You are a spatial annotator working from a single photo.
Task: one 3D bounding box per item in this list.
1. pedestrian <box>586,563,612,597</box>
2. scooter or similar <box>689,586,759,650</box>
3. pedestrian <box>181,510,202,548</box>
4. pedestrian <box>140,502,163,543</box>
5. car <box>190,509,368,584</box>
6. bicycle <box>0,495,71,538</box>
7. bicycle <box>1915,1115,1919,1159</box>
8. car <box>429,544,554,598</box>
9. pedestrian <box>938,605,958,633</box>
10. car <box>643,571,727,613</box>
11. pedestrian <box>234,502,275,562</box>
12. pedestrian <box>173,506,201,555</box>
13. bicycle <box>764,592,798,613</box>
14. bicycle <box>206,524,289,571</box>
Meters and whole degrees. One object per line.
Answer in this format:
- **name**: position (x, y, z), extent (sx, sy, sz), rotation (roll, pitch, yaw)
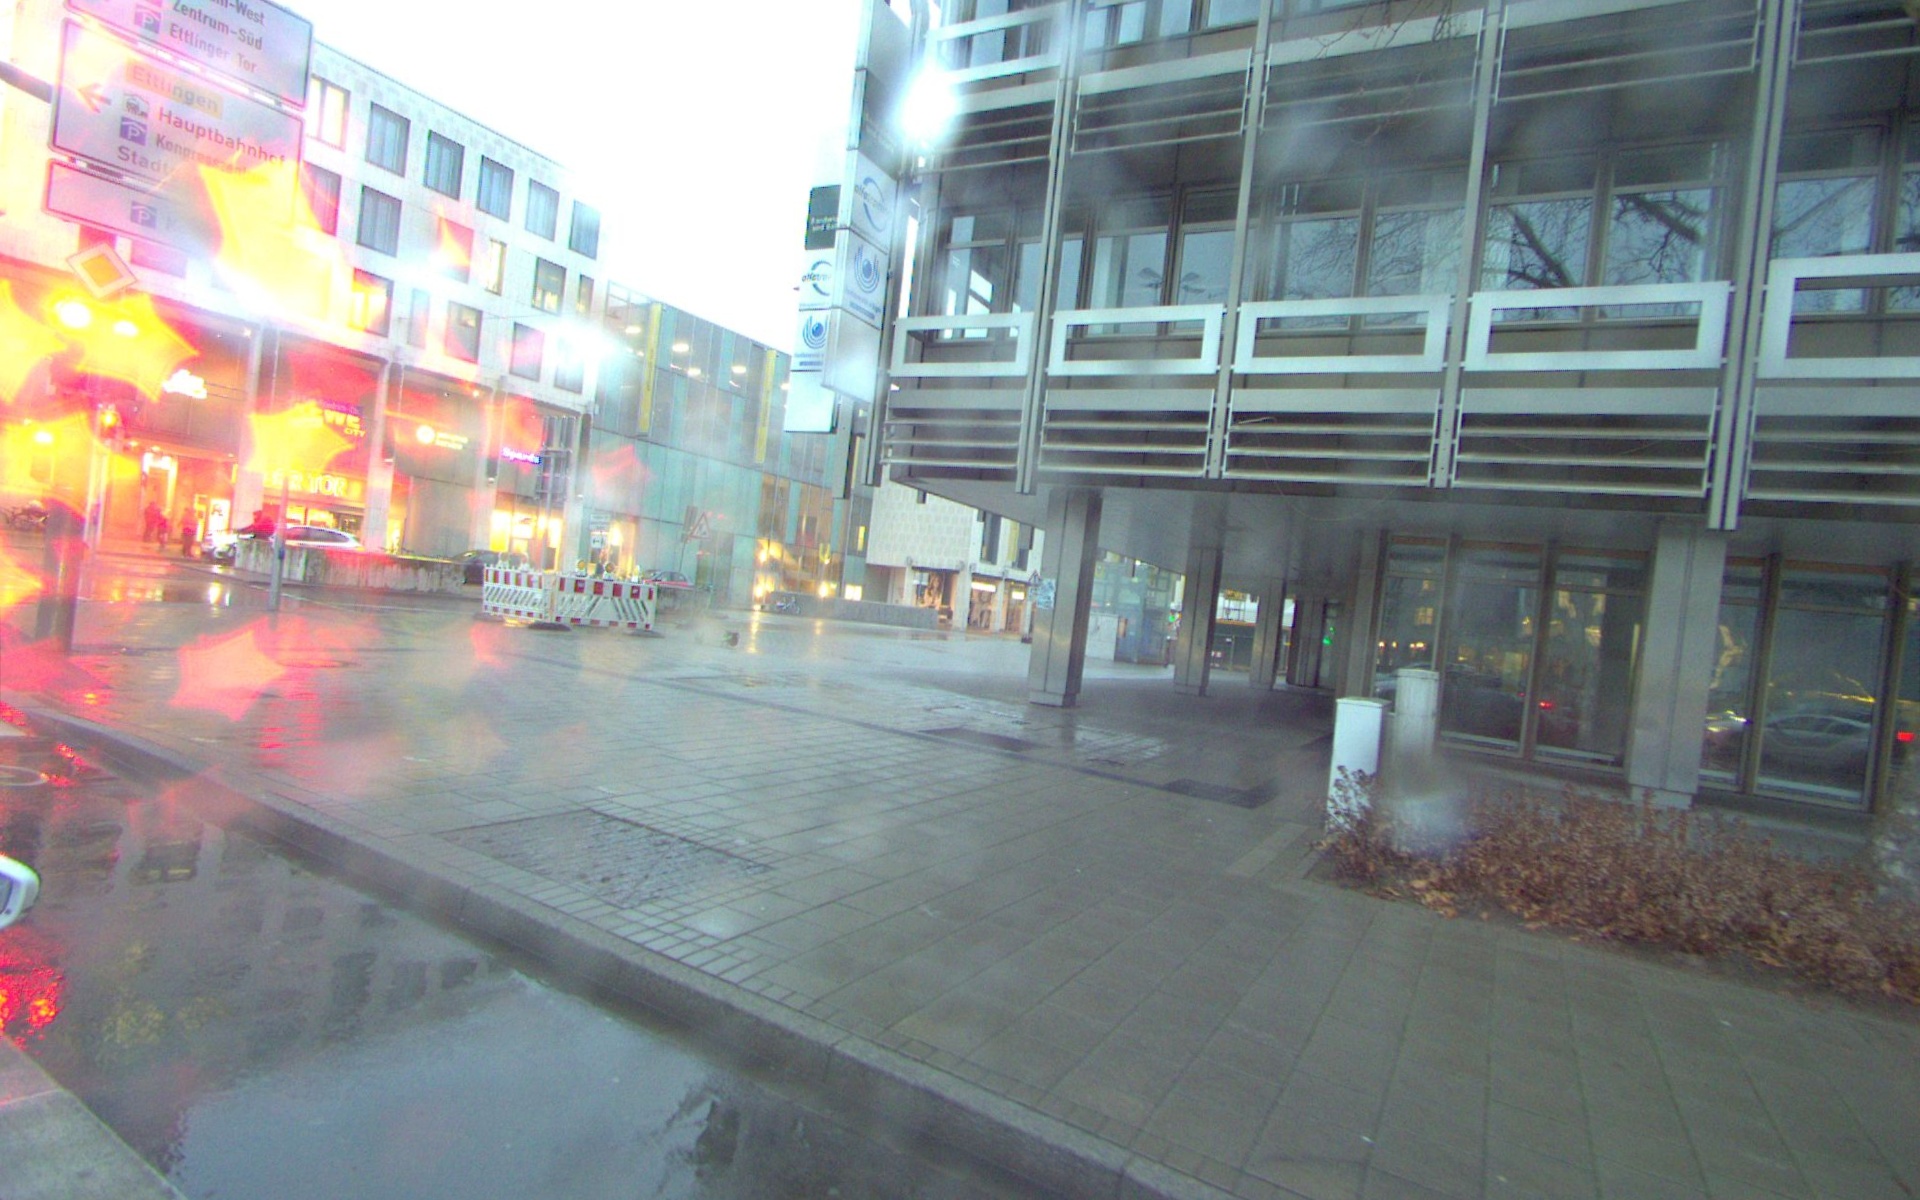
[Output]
- **pedestrian**: position (-18.668, -1.038, 52.024), extent (0.697, 1.650, 0.795), rotation (6, -1, 32)
- **scooter or similar**: position (-4.783, 0.369, 20.362), extent (1.215, 1.144, 0.606), rotation (7, 1, 32)
- **pedestrian**: position (-36.767, -3.379, 48.121), extent (0.529, 1.739, 0.500), rotation (6, 1, -21)
- **pedestrian**: position (-35.701, -3.414, 44.405), extent (0.529, 1.739, 0.500), rotation (6, 1, -21)
- **car**: position (-21.776, -1.671, 32.323), extent (1.680, 1.783, 4.305), rotation (7, 0, 34)
- **bicycle**: position (-36.196, -3.249, 39.028), extent (0.623, 1.345, 2.431), rotation (7, 0, 26)
- **bicycle**: position (3.019, 1.249, 2.435), extent (0.428, 1.163, 1.753), rotation (7, 2, 27)
- **car**: position (-17.916, -1.070, 38.662), extent (1.648, 1.601, 4.056), rotation (6, -1, 29)
- **pedestrian**: position (-0.917, 1.486, 78.980), extent (0.902, 2.037, 1.011), rotation (8, -1, -42)
- **car**: position (-12.778, -0.351, 46.925), extent (1.648, 1.601, 3.575), rotation (6, -1, 29)
- **pedestrian**: position (-20.530, -1.972, 29.265), extent (0.778, 1.615, 0.605), rotation (6, 1, -43)
- **pedestrian**: position (-28.014, -2.518, 36.457), extent (0.529, 1.706, 0.546), rotation (6, 1, -21)
- **bicycle**: position (-11.068, 0.170, 62.140), extent (2.101, 1.046, 0.616), rotation (6, 0, 33)
- **bicycle**: position (-20.662, -1.518, 29.198), extent (1.839, 1.107, 0.610), rotation (7, 0, -44)
